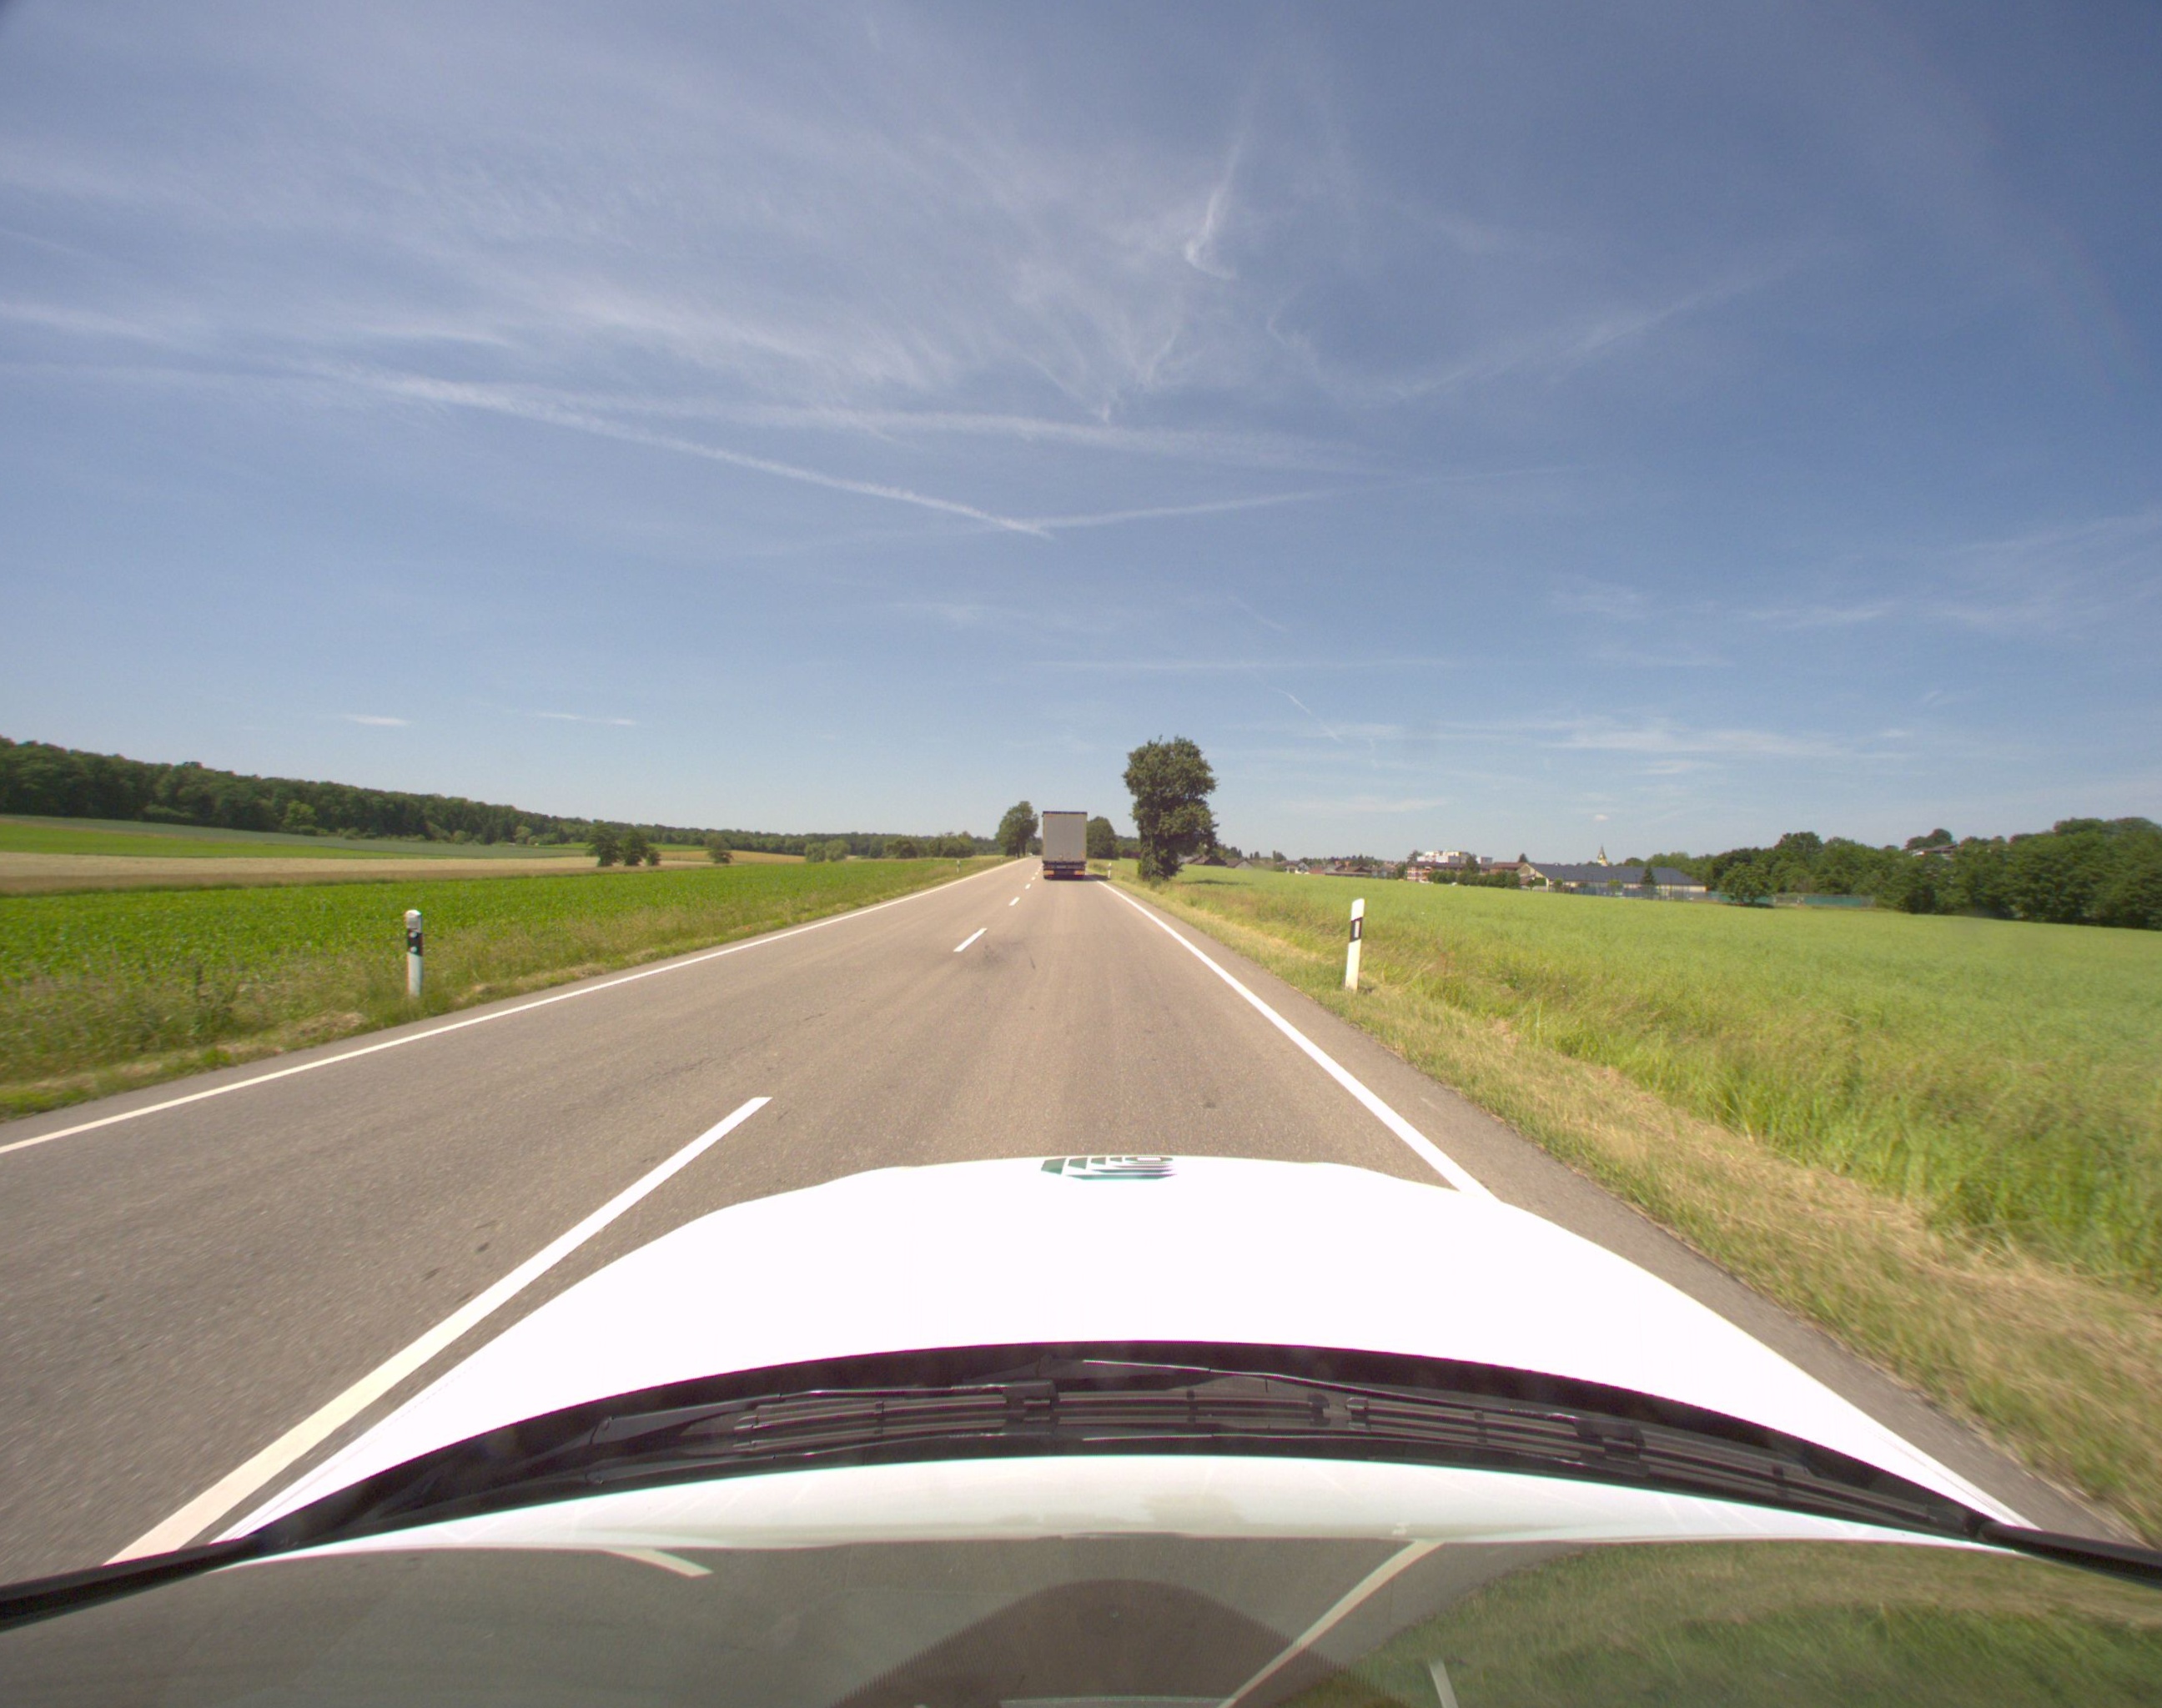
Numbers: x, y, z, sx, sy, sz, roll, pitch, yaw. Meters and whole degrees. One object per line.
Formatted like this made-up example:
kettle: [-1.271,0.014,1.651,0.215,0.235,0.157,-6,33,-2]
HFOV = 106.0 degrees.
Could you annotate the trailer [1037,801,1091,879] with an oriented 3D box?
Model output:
trailer: [-1.317,-0.792,52.991,2.861,4.400,13.473,1,0,-4]
